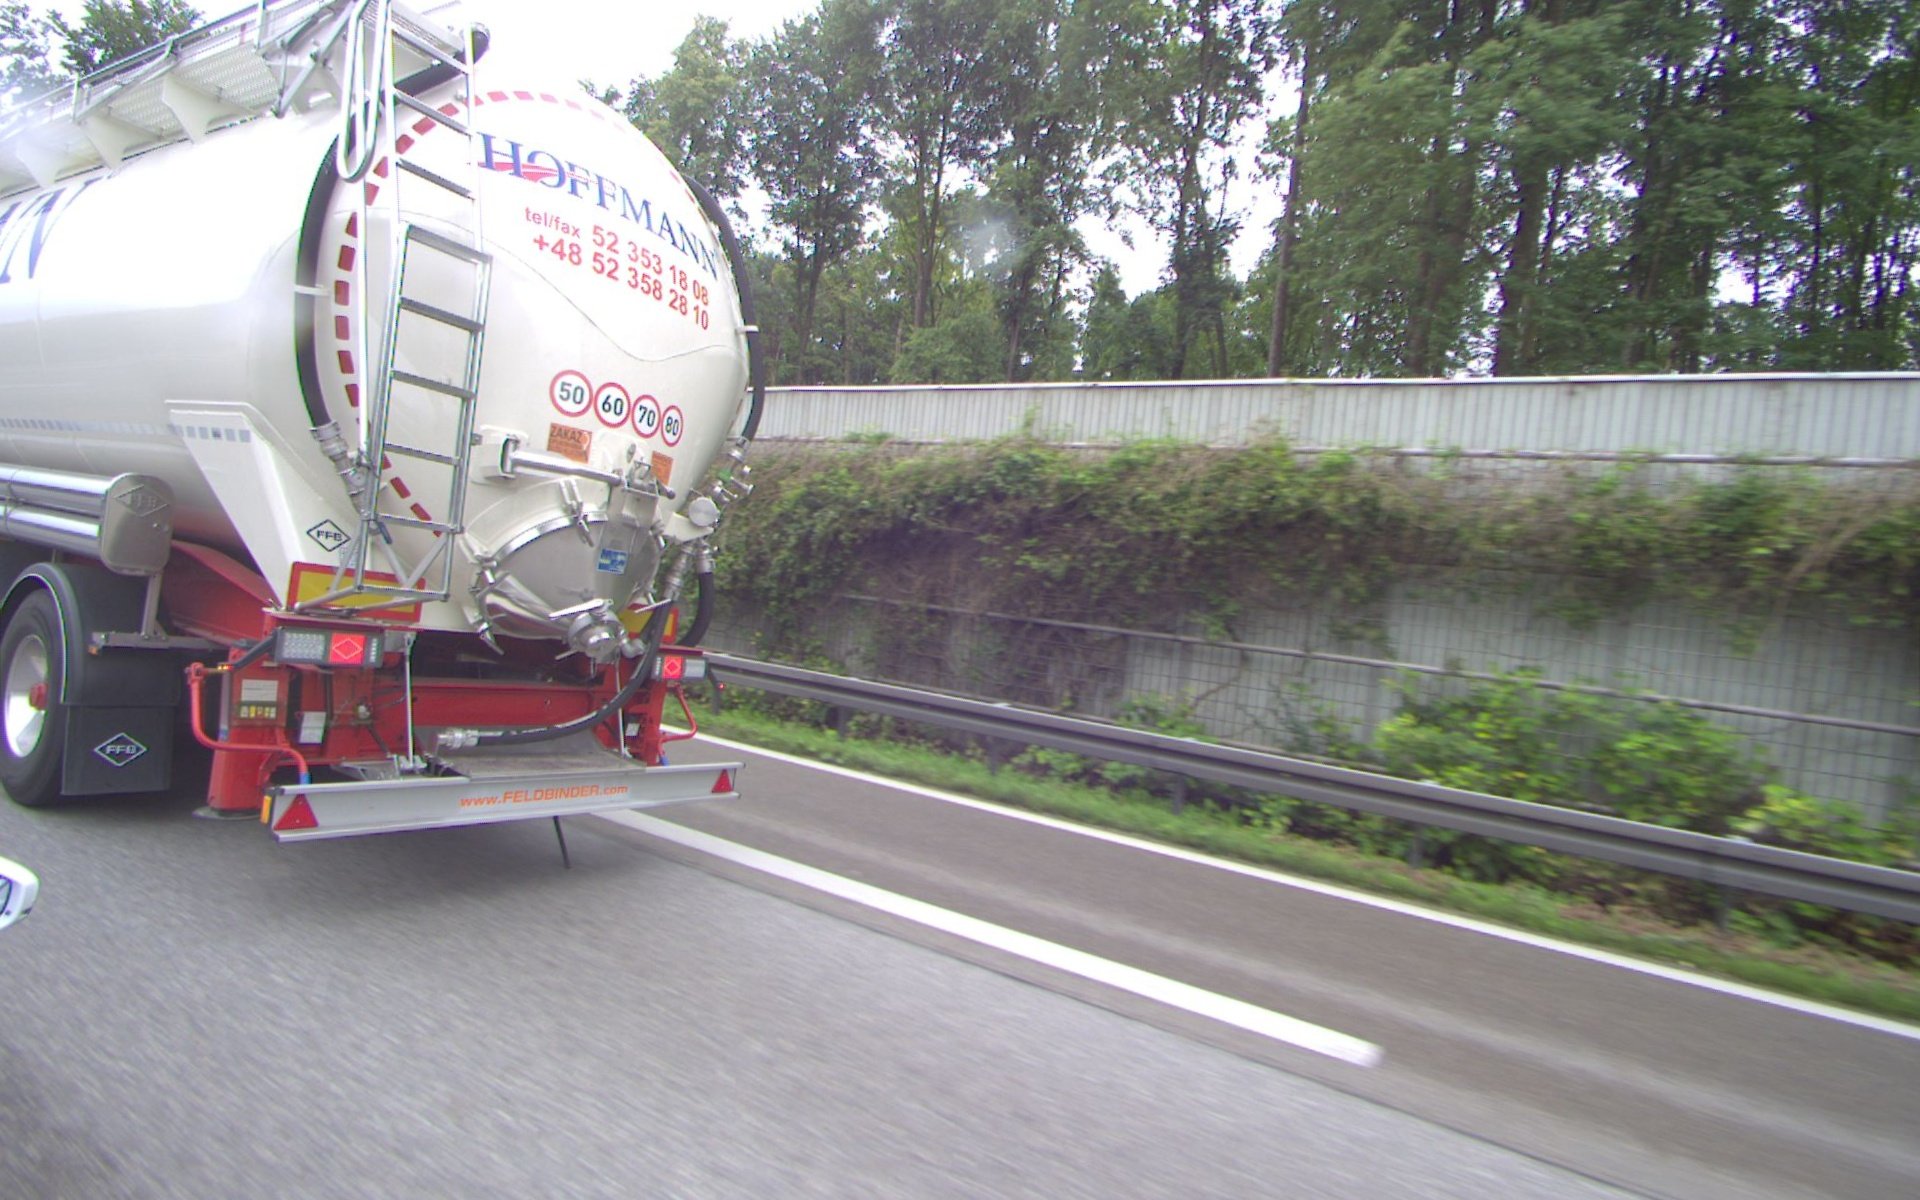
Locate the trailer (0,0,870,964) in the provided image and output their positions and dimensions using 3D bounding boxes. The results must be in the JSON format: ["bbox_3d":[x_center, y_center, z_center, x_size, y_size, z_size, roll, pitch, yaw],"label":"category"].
[{"bbox_3d":[-6.844,-1.321,7.980,12.914,3.987,2.671,7,0,32],"label":"trailer"}]

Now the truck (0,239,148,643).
[{"bbox_3d":[-12.456,-1.936,11.548,6.449,3.960,2.698,7,0,33],"label":"truck"}]
